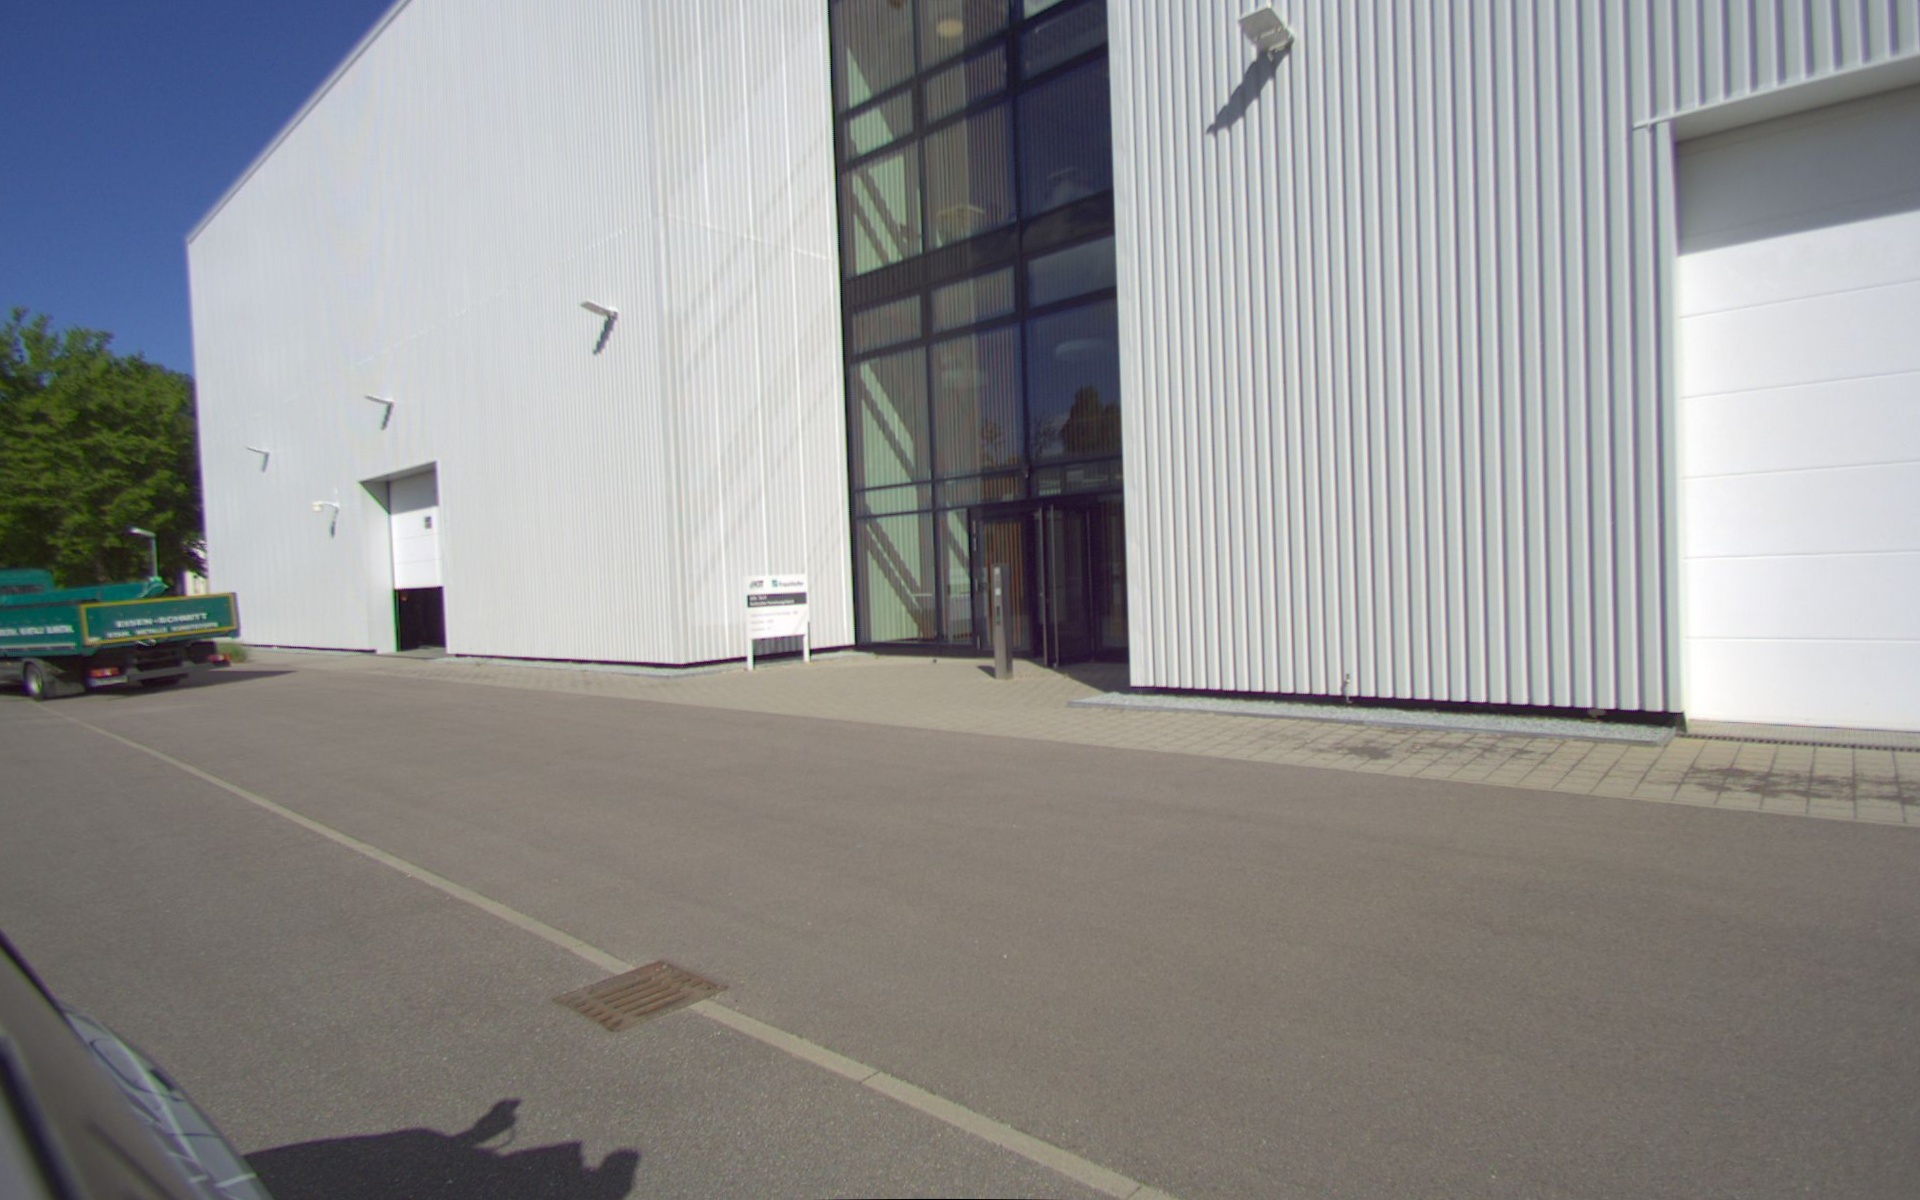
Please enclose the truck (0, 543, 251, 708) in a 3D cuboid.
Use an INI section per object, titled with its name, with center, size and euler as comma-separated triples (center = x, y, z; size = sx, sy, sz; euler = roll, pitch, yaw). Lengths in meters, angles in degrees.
[truck]
center = -18.526, 0.546, 20.662
size = 9.654, 2.736, 2.565
euler = -2, 3, 30
